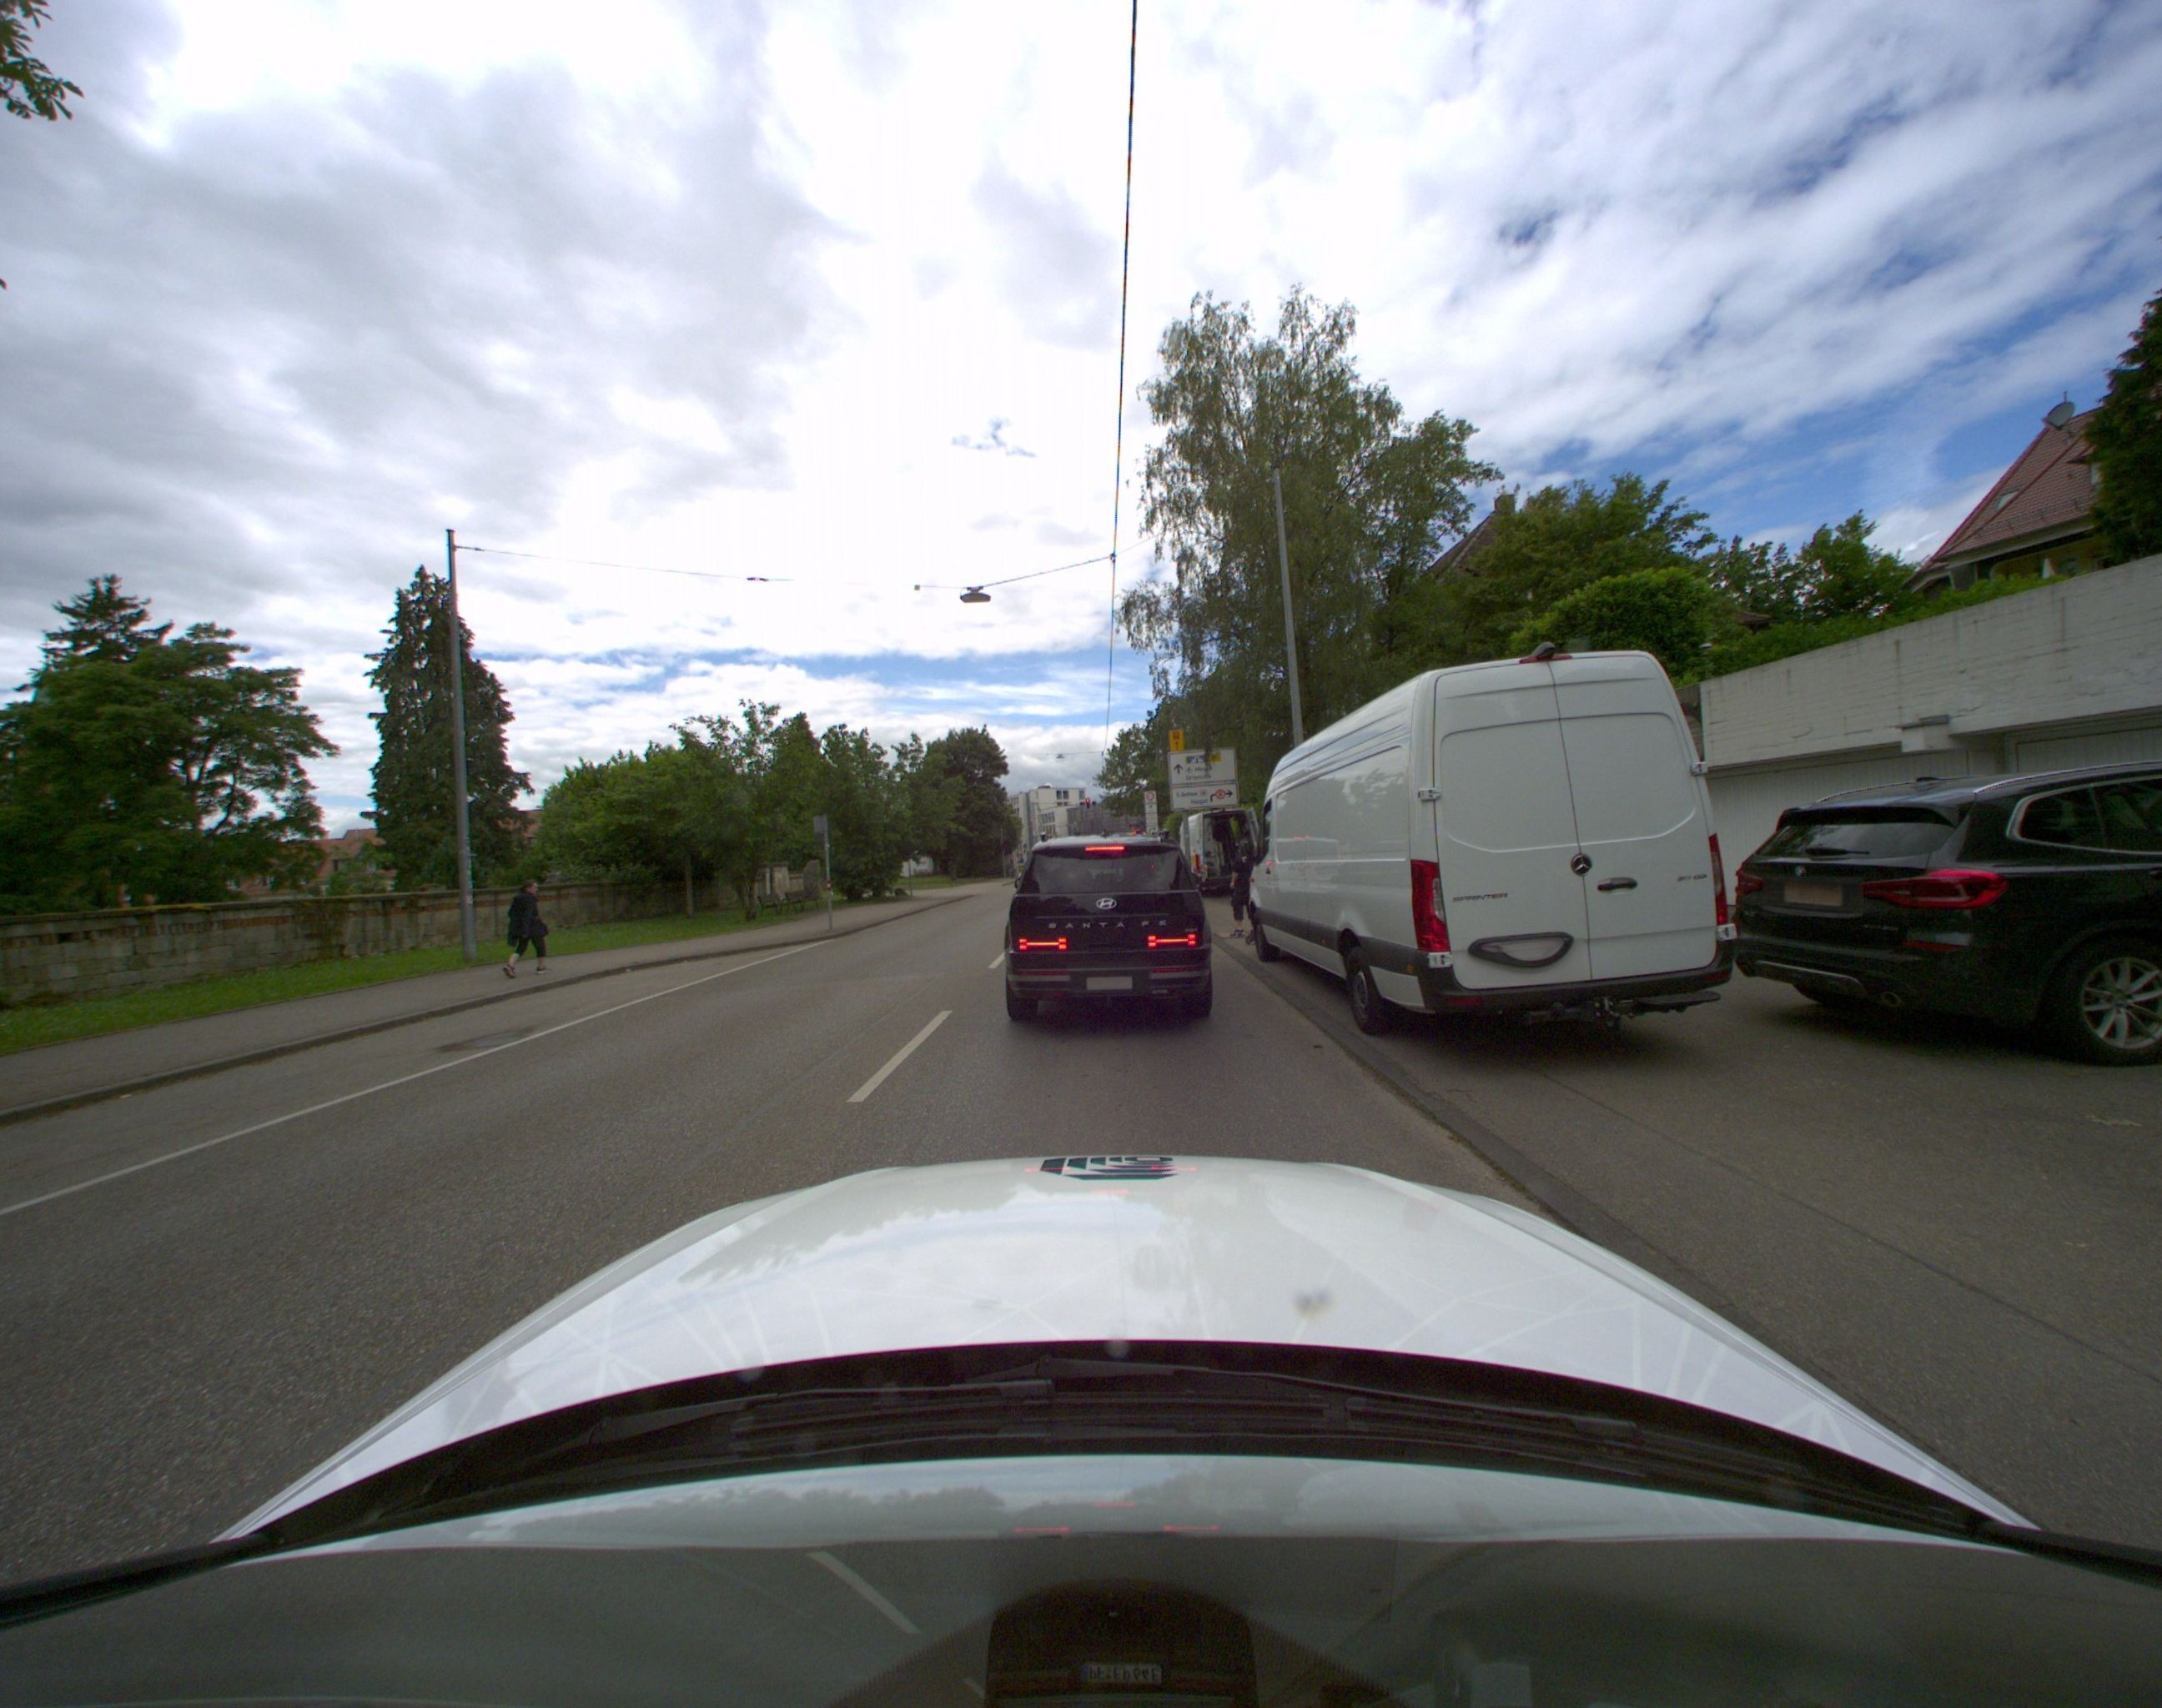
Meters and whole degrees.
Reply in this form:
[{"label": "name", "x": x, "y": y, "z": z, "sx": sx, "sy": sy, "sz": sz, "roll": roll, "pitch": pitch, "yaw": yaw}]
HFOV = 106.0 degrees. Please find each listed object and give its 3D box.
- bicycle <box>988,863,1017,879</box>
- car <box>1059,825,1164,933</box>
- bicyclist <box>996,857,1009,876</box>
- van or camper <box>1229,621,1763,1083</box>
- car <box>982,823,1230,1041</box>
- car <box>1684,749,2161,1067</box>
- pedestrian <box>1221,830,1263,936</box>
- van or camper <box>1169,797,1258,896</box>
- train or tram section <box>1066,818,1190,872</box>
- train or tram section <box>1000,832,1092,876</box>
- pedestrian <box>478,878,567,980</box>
[{"label": "bicycle", "x": -6.767, "y": 1.439, "z": 70.066, "sx": 2.469, "sy": 1.279, "sz": 0.681, "roll": -3, "pitch": -2, "yaw": 30}, {"label": "car", "x": 0.619, "y": 0.481, "z": 17.661, "sx": 1.957, "sy": 2.001, "sz": 4.001, "roll": -2, "pitch": 0, "yaw": 1}, {"label": "bicyclist", "x": -6.779, "y": 1.089, "z": 70.079, "sx": 0.847, "sy": 1.659, "sz": 0.681, "roll": -3, "pitch": -2, "yaw": 30}, {"label": "van or camper", "x": 3.091, "y": -0.012, "z": 8.117, "sx": 1.957, "sy": 2.627, "sz": 6.359, "roll": -5, "pitch": 0, "yaw": 1}, {"label": "car", "x": 0.240, "y": 0.637, "z": 8.635, "sx": 1.957, "sy": 1.711, "sz": 4.001, "roll": -2, "pitch": 0, "yaw": 1}, {"label": "car", "x": 6.847, "y": 0.191, "z": 5.290, "sx": 4.376, "sy": 1.652, "sz": 1.831, "roll": -4, "pitch": 0, "yaw": 2}, {"label": "pedestrian", "x": 2.741, "y": 0.490, "z": 13.908, "sx": 0.600, "sy": 1.743, "sz": 0.620, "roll": -2, "pitch": -2, "yaw": 7}, {"label": "van or camper", "x": 4.235, "y": -0.213, "z": 26.933, "sx": 1.957, "sy": 2.797, "sz": 5.287, "roll": -5, "pitch": 0, "yaw": 1}, {"label": "train or tram section", "x": 4.238, "y": -0.630, "z": 83.289, "sx": 3.212, "sy": 4.523, "sz": 18.506, "roll": -1, "pitch": -2, "yaw": -29}, {"label": "train or tram section", "x": -4.669, "y": 0.166, "z": 99.386, "sx": 3.212, "sy": 4.523, "sz": 18.505, "roll": -1, "pitch": -2, "yaw": -29}, {"label": "pedestrian", "x": -9.269, "y": 1.223, "z": 13.551, "sx": 0.746, "sy": 1.578, "sz": 0.967, "roll": -2, "pitch": 0, "yaw": 1}]
